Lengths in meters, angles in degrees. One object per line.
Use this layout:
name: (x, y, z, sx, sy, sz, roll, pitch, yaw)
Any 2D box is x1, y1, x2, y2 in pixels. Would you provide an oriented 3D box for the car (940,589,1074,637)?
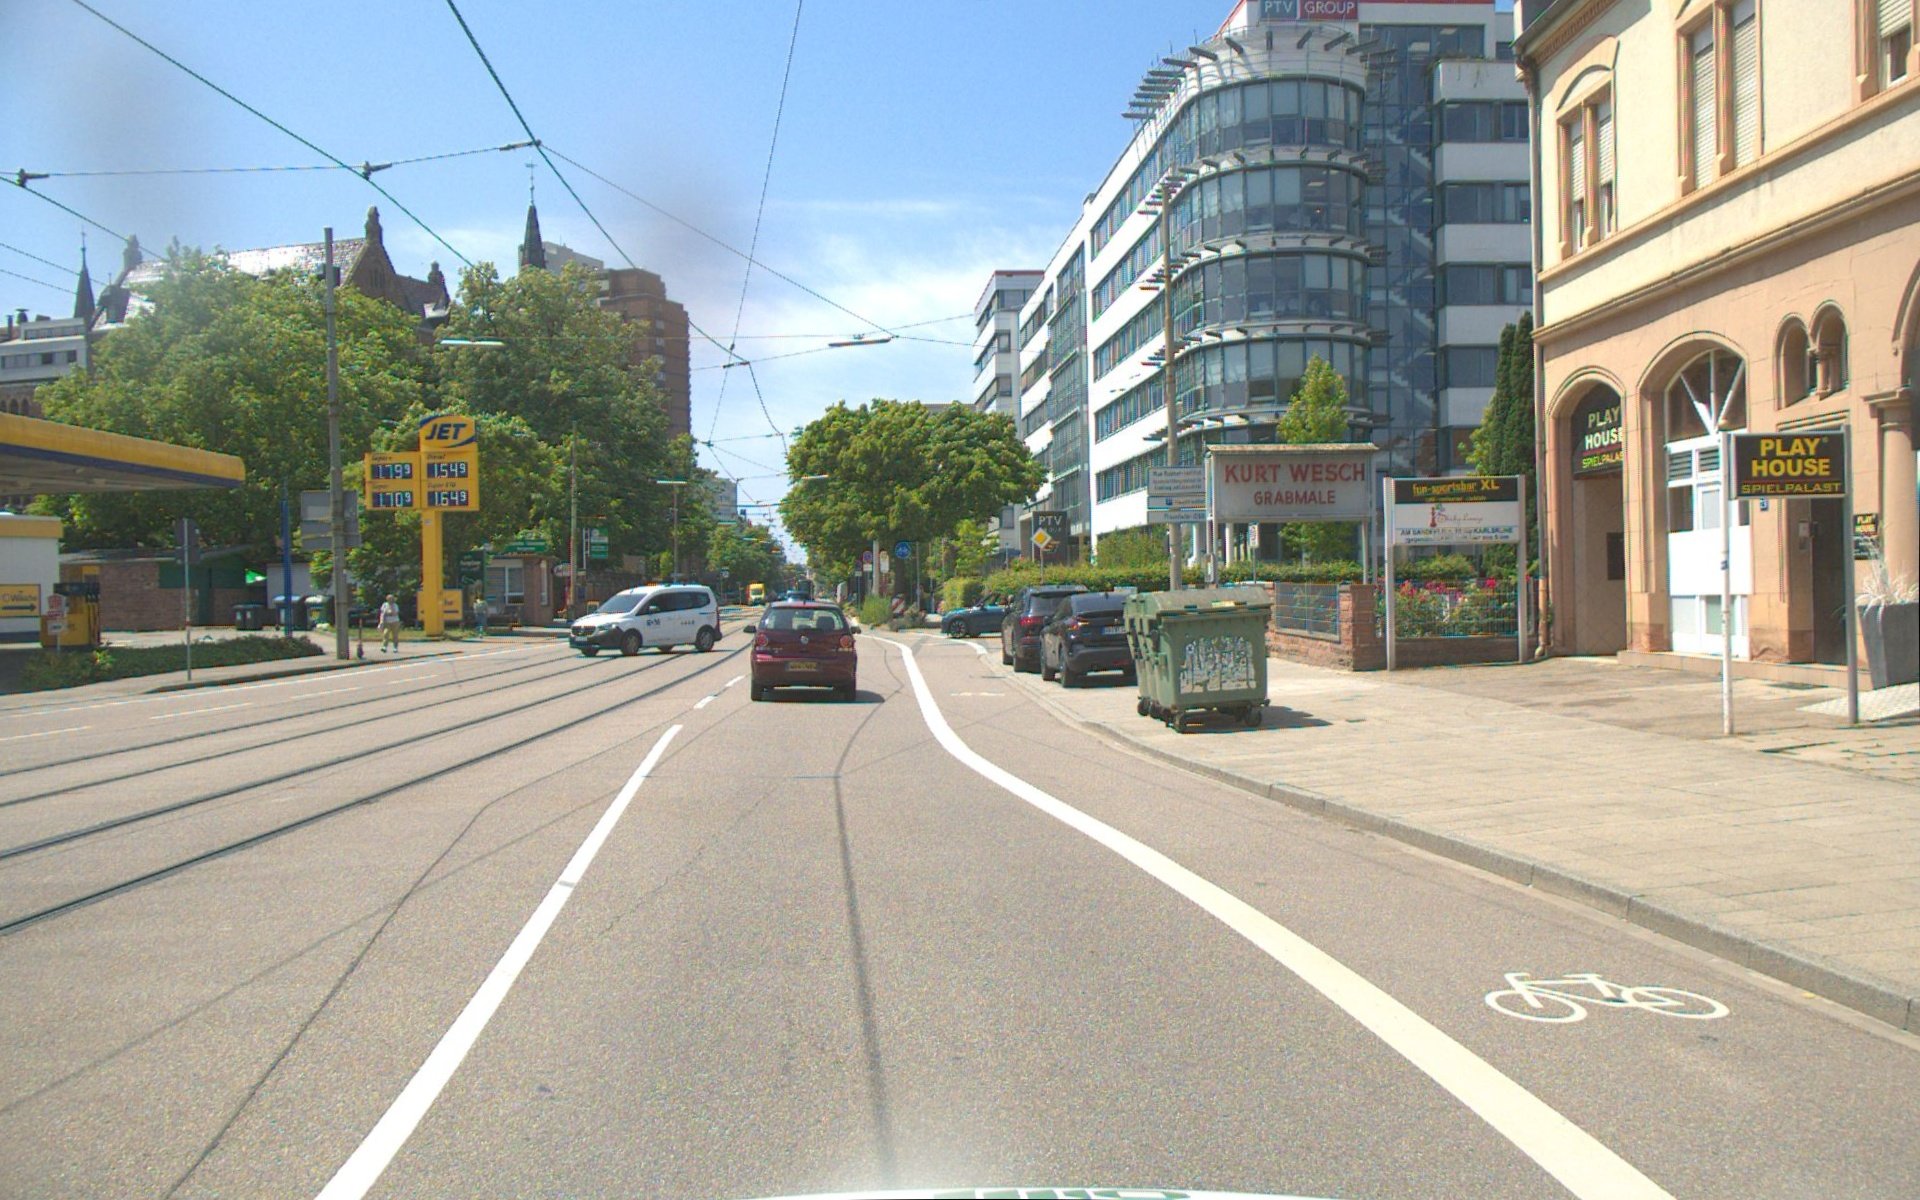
car: (1.489, 0.404, 51.919, 3.832, 1.396, 1.704, -2, 0, 20)

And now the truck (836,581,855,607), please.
truck: (-12.124, -0.635, 174.621, 1.955, 2.708, 4.870, 0, 0, -5)

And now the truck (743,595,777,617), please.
truck: (-26.387, 0.794, 218.480, 2.319, 2.835, 7.326, -1, 0, 10)

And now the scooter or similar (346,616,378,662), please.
scooter or similar: (-16.231, 1.046, 44.906, 0.509, 1.221, 1.374, 0, 0, -7)

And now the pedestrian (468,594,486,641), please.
pedestrian: (-18.371, 0.659, 62.950, 0.569, 1.806, 0.698, 0, 0, -8)

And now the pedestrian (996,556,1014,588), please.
pedestrian: (2.539, -1.569, 92.871, 0.855, 1.745, 1.090, -3, 0, 4)

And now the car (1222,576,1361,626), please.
car: (10.667, 0.034, 53.381, 4.064, 1.485, 1.817, -1, 0, -1)

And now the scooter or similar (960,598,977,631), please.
scooter or similar: (0.332, 0.540, 62.117, 0.319, 1.244, 1.152, 0, 0, 16)

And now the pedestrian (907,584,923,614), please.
pedestrian: (-2.825, -0.061, 103.210, 0.672, 1.828, 0.666, -3, 0, -36)

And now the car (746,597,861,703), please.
car: (-2.523, 0.715, 26.004, 1.589, 1.512, 3.992, 0, 0, -9)

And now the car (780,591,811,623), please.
car: (-10.661, 0.448, 106.981, 1.956, 2.049, 3.994, 0, 0, -7)

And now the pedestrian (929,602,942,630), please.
pedestrian: (-1.518, 1.007, 103.566, 0.532, 1.745, 0.559, -2, -1, -34)

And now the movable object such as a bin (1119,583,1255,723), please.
movable object such as a bin: (2.584, 0.591, 18.960, 1.224, 1.480, 1.056, -3, 0, -8)

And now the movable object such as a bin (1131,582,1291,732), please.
movable object such as a bin: (2.688, 0.593, 17.859, 1.366, 1.480, 1.137, -3, 0, -8)

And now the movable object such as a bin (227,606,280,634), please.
movable object such as a bin: (-30.246, 0.833, 70.821, 1.375, 1.157, 1.565, 0, 0, 19)

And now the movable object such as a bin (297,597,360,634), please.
movable object such as a bin: (-26.748, 0.627, 70.105, 1.489, 1.536, 2.100, 0, 0, 19)

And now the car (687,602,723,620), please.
car: (-30.313, 1.332, 196.602, 3.906, 2.049, 2.000, -1, 0, -1)

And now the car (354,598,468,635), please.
car: (-23.572, 0.681, 71.144, 1.896, 1.514, 4.436, 0, 0, 35)

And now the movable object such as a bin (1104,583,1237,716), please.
movable object such as a bin: (2.533, 0.579, 20.033, 1.299, 1.480, 1.056, -3, 0, -8)

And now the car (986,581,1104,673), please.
car: (1.733, 0.529, 35.315, 1.886, 1.722, 5.078, -3, 0, -3)

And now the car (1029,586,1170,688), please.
car: (2.382, 0.619, 29.317, 1.738, 1.575, 4.463, -3, 0, -4)

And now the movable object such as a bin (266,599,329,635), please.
movable object such as a bin: (-28.282, 0.716, 70.615, 1.489, 1.457, 2.100, 0, 0, 19)

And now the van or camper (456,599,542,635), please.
van or camper: (-22.142, 0.791, 79.517, 3.710, 1.657, 1.869, 0, 1, -5)

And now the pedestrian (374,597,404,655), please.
pedestrian: (-17.279, 0.773, 50.063, 0.612, 1.720, 0.722, -1, 0, -2)

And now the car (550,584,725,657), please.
car: (-8.622, 0.511, 44.603, 1.960, 1.831, 4.536, -1, 0, 36)
